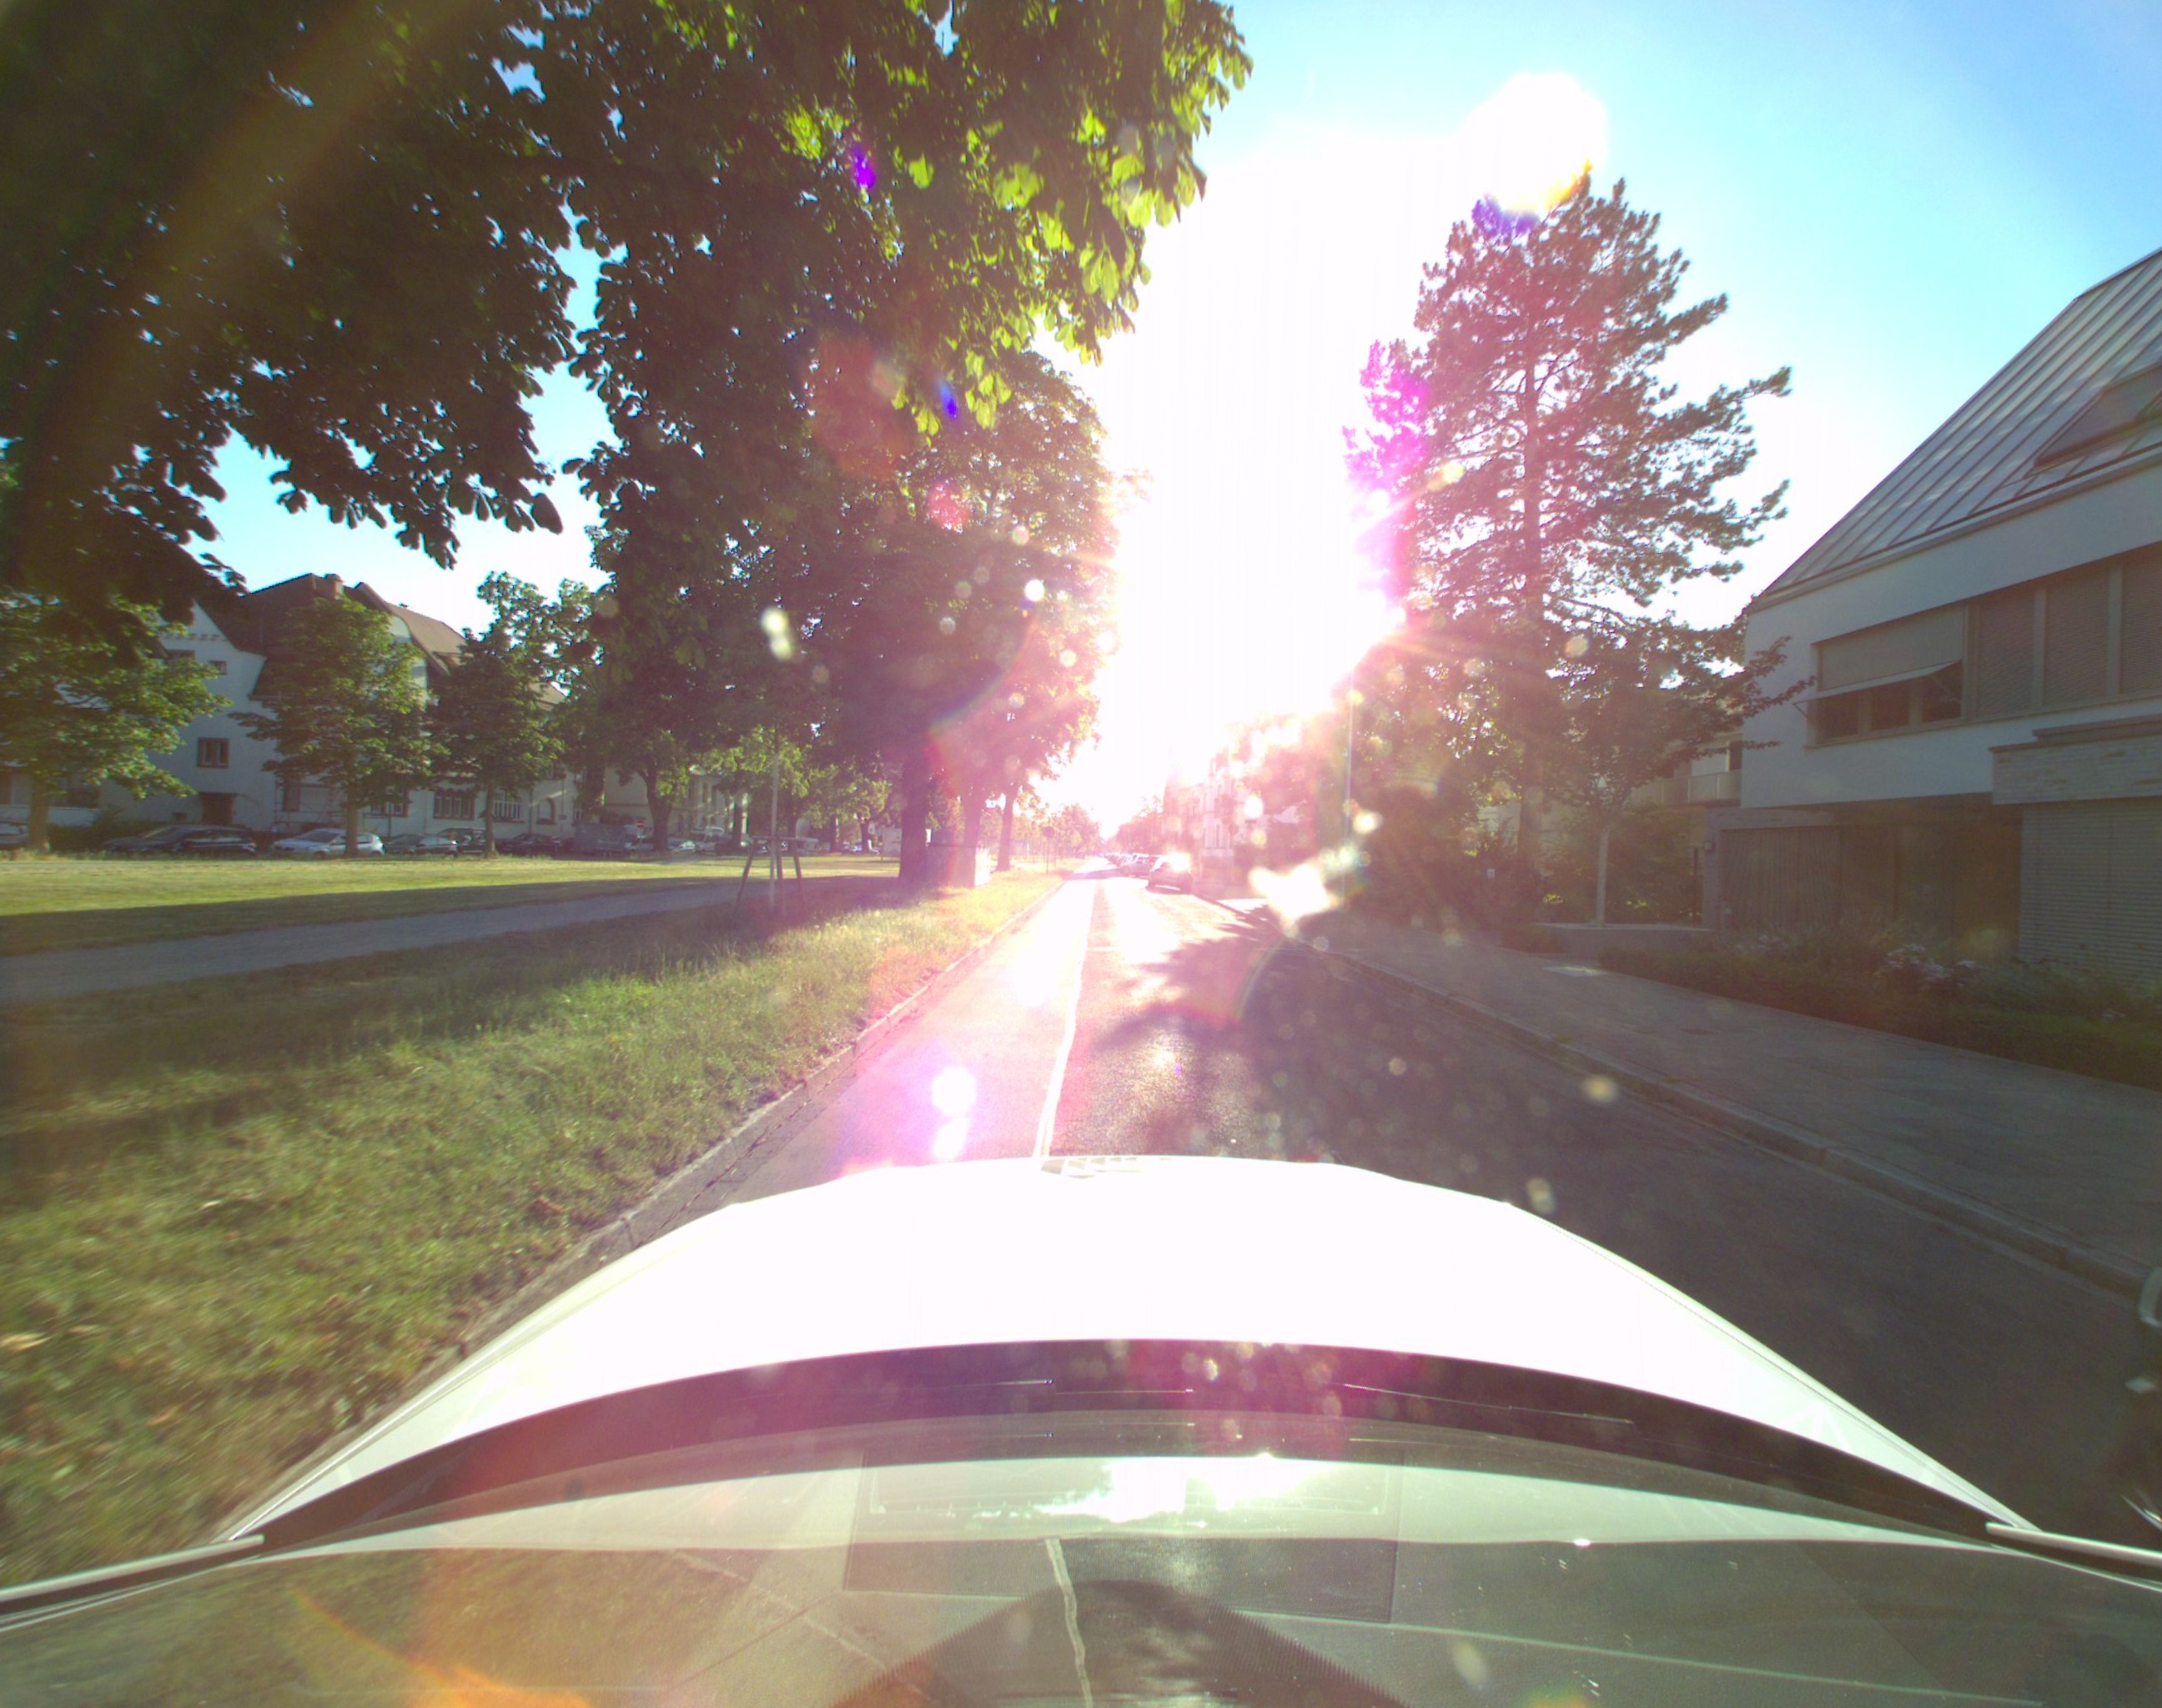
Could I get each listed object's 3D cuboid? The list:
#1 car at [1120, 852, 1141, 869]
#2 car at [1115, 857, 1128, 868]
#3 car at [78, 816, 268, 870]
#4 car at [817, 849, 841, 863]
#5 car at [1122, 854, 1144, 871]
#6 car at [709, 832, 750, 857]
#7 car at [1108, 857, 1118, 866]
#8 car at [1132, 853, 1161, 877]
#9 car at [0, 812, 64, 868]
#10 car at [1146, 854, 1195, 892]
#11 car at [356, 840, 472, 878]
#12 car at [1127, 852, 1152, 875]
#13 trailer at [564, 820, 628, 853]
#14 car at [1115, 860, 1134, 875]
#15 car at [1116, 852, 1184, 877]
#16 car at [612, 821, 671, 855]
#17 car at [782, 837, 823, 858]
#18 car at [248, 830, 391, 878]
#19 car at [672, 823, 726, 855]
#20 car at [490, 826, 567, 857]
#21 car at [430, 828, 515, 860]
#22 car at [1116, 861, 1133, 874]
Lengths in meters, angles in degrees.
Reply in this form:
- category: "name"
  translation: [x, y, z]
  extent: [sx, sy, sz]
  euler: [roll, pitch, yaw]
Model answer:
- category: "car"
  translation: [4.846, 0.613, 80.516]
  extent: [1.753, 1.605, 4.358]
  euler: [2, 0, 0]
- category: "car"
  translation: [6.301, 1.314, 127.631]
  extent: [1.986, 1.629, 4.002]
  euler: [2, 0, 2]
- category: "car"
  translation: [-32.981, -0.351, 29.803]
  extent: [1.985, 1.721, 4.258]
  euler: [3, -1, 3]
- category: "car"
  translation: [-36.903, 0.289, 119.192]
  extent: [1.986, 2.014, 4.485]
  euler: [0, -1, 1]
- category: "car"
  translation: [4.748, 0.778, 75.491]
  extent: [1.755, 1.420, 4.000]
  euler: [2, 0, 0]
- category: "car"
  translation: [-31.955, -0.837, 74.122]
  extent: [1.678, 2.176, 4.316]
  euler: [2, 0, 2]
- category: "car"
  translation: [6.424, 1.498, 162.157]
  extent: [1.973, 1.683, 4.002]
  euler: [2, 0, 2]
- category: "car"
  translation: [4.791, 0.779, 59.849]
  extent: [1.753, 1.605, 4.358]
  euler: [2, 0, 0]
- category: "car"
  translation: [-33.159, -0.468, 23.666]
  extent: [1.985, 1.684, 4.004]
  euler: [3, -1, 4]
- category: "car"
  translation: [4.024, 0.821, 37.062]
  extent: [1.750, 1.420, 4.073]
  euler: [8, 0, 2]
- category: "car"
  translation: [-32.855, 0.258, 40.307]
  extent: [1.985, 1.649, 4.258]
  euler: [3, -1, 3]
- category: "car"
  translation: [4.697, 0.747, 65.992]
  extent: [1.679, 1.650, 4.100]
  euler: [7, 0, 1]
- category: "trailer"
  translation: [-37.997, -1.331, 63.972]
  extent: [1.986, 2.428, 4.726]
  euler: [2, 0, 2]
- category: "car"
  translation: [4.835, 1.488, 90.826]
  extent: [1.755, 1.521, 3.999]
  euler: [4, 0, 0]
- category: "car"
  translation: [4.446, 0.644, 52.245]
  extent: [3.950, 1.420, 1.777]
  euler: [1, 1, 26]
- category: "car"
  translation: [-37.844, -1.325, 70.326]
  extent: [1.986, 2.673, 5.189]
  euler: [2, 0, 2]
- category: "car"
  translation: [-31.602, -0.772, 92.688]
  extent: [2.525, 2.236, 5.461]
  euler: [2, 0, 2]
- category: "car"
  translation: [-32.911, 0.025, 35.388]
  extent: [1.985, 1.860, 4.258]
  euler: [3, -1, 3]
- category: "car"
  translation: [-37.772, -1.425, 80.749]
  extent: [2.429, 2.922, 5.819]
  euler: [0, -1, 1]
- category: "car"
  translation: [-38.467, -0.824, 56.854]
  extent: [1.987, 1.952, 4.750]
  euler: [2, 0, 0]
- category: "car"
  translation: [-38.350, -0.614, 51.506]
  extent: [1.988, 1.876, 4.493]
  euler: [2, 0, -1]
- category: "car"
  translation: [5.458, 1.675, 101.833]
  extent: [1.986, 1.464, 4.002]
  euler: [2, 0, 2]
